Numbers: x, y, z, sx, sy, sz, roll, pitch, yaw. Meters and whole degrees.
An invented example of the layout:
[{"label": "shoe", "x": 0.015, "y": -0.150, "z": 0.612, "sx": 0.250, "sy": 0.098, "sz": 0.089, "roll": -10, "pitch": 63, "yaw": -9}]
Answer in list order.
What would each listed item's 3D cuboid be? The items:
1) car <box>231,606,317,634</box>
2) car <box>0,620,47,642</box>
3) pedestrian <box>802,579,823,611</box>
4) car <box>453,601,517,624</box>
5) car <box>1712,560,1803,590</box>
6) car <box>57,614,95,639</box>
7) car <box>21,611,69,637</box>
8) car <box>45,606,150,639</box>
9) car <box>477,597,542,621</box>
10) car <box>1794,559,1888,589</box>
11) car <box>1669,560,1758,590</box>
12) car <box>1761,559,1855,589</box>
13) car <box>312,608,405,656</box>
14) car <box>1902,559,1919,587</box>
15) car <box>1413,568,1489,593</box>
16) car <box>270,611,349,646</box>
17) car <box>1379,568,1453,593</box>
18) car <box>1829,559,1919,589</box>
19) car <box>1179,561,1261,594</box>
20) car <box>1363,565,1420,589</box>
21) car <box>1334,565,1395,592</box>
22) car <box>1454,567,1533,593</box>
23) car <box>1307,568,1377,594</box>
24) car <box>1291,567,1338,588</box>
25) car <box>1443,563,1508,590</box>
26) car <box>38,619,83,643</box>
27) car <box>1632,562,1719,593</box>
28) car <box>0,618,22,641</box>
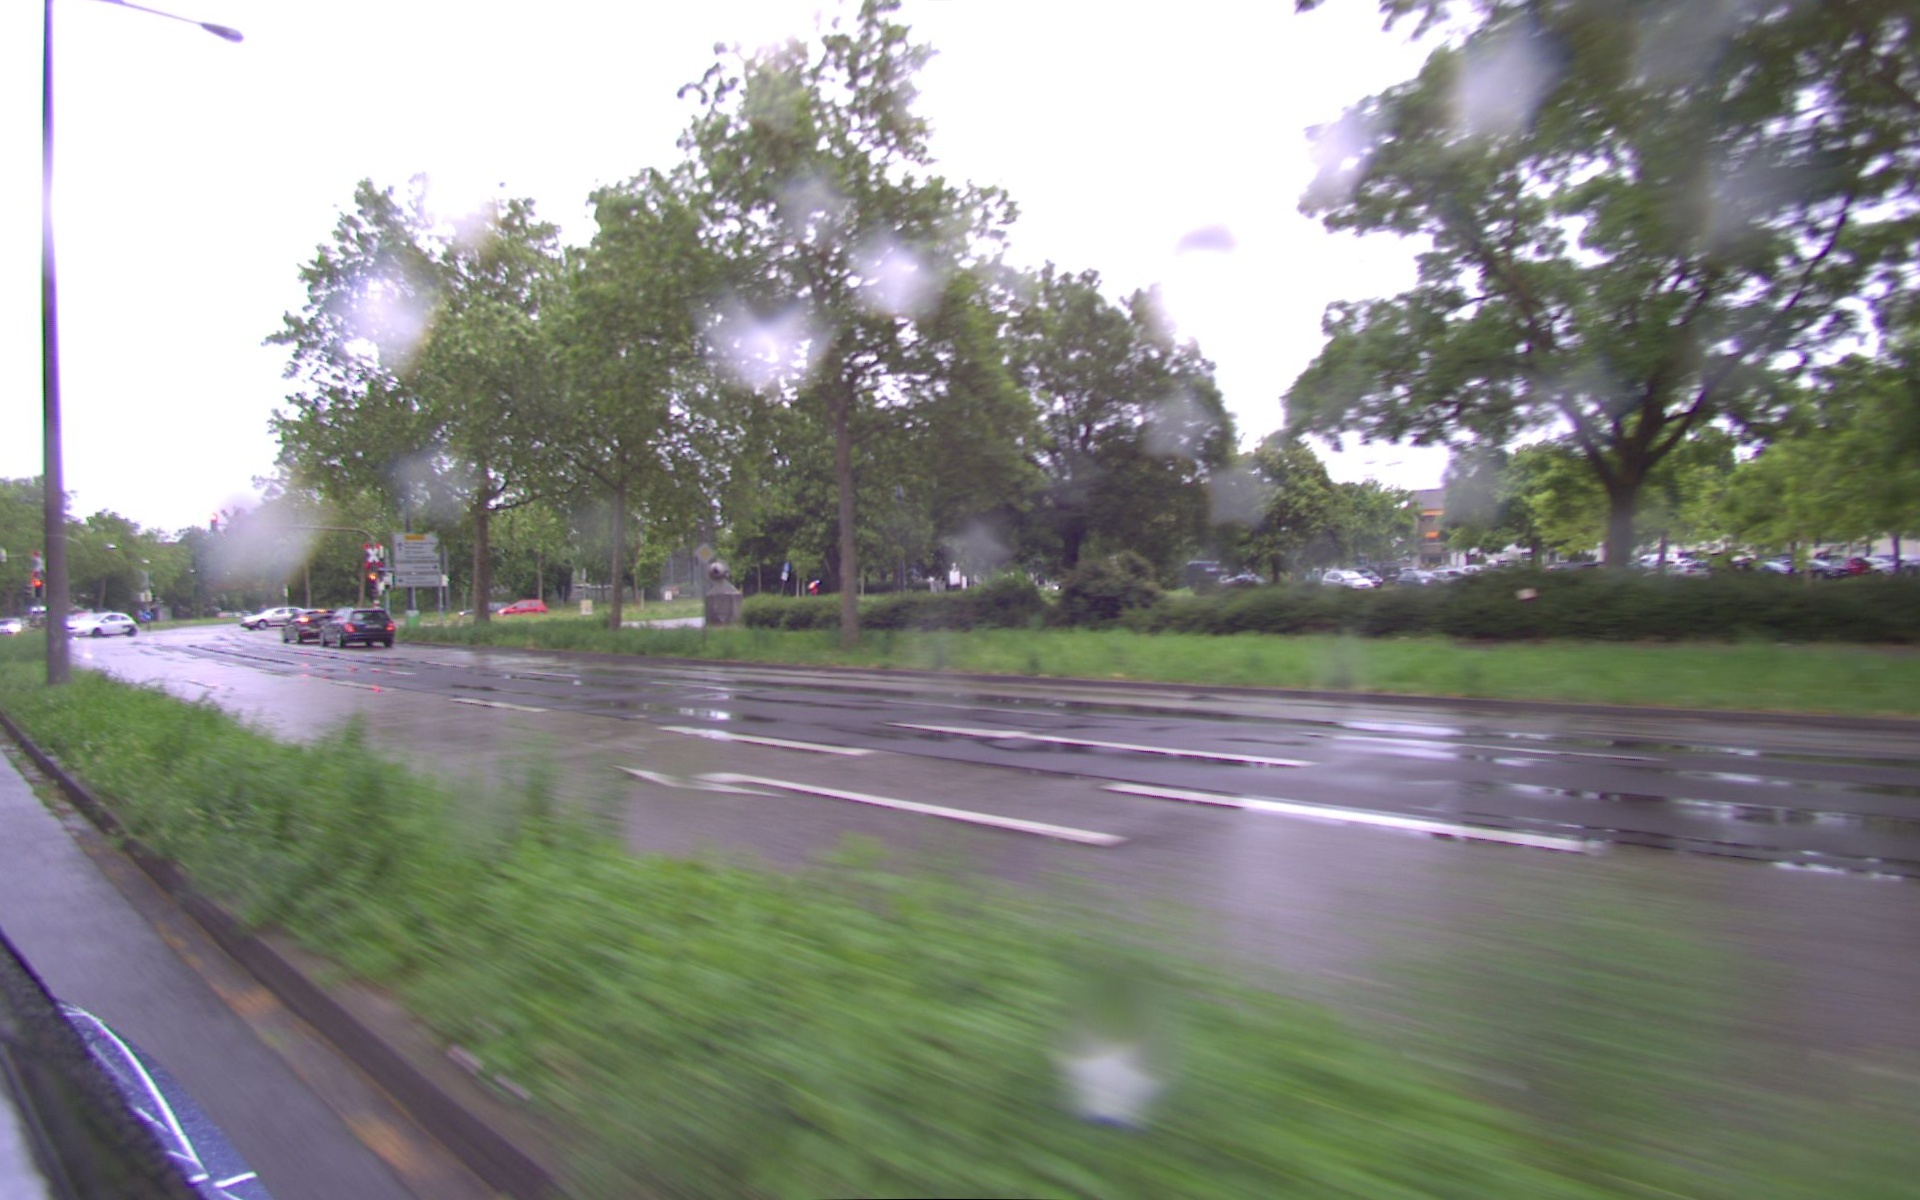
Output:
[{"label": "car", "x": -46.624, "y": 1.331, "z": 68.862, "sx": 1.994, "sy": 1.641, "sz": 4.454, "roll": -1, "pitch": 1, "yaw": 32}, {"label": "car", "x": -77.708, "y": 2.543, "z": 84.045, "sx": 1.966, "sy": 1.641, "sz": 4.535, "roll": -2, "pitch": 1, "yaw": -32}, {"label": "pedestrian", "x": -9.615, "y": -0.300, "z": 65.897, "sx": 0.885, "sy": 2.029, "sz": 1.021, "roll": -2, "pitch": 1, "yaw": -40}, {"label": "car", "x": -37.257, "y": 0.953, "z": 79.443, "sx": 4.444, "sy": 1.641, "sz": 2.006, "roll": -2, "pitch": 1, "yaw": -27}, {"label": "car", "x": 53.898, "y": -1.681, "z": 68.511, "sx": 1.966, "sy": 1.916, "sz": 4.511, "roll": -2, "pitch": 1, "yaw": -14}, {"label": "car", "x": -74.358, "y": 2.187, "z": 85.199, "sx": 1.967, "sy": 1.901, "sz": 4.532, "roll": -2, "pitch": 1, "yaw": -36}, {"label": "car", "x": -81.163, "y": 2.129, "z": 89.845, "sx": 1.966, "sy": 2.123, "sz": 5.159, "roll": -2, "pitch": 1, "yaw": -29}, {"label": "car", "x": -48.851, "y": 1.255, "z": 57.464, "sx": 1.973, "sy": 1.641, "sz": 4.519, "roll": -2, "pitch": 1, "yaw": 2}, {"label": "car", "x": -34.643, "y": 0.701, "z": 77.874, "sx": 4.444, "sy": 1.641, "sz": 2.006, "roll": -2, "pitch": 1, "yaw": -27}, {"label": "car", "x": 60.205, "y": -1.734, "z": 69.246, "sx": 1.966, "sy": 1.916, "sz": 4.511, "roll": -2, "pitch": 1, "yaw": -14}, {"label": "car", "x": 50.540, "y": -1.651, "z": 67.969, "sx": 1.966, "sy": 1.916, "sz": 4.511, "roll": -2, "pitch": 1, "yaw": -14}, {"label": "car", "x": 57.323, "y": -1.702, "z": 68.501, "sx": 2.078, "sy": 1.916, "sz": 4.509, "roll": -2, "pitch": 1, "yaw": -11}, {"label": "car", "x": -22.607, "y": 1.156, "z": 37.956, "sx": 1.971, "sy": 1.643, "sz": 4.334, "roll": -3, "pitch": 1, "yaw": -45}, {"label": "car", "x": 67.576, "y": -1.879, "z": 69.007, "sx": 1.966, "sy": 1.916, "sz": 4.511, "roll": -2, "pitch": 1, "yaw": -14}, {"label": "car", "x": 31.816, "y": -1.257, "z": 65.752, "sx": 1.966, "sy": 1.548, "sz": 4.511, "roll": -2, "pitch": 1, "yaw": -14}, {"label": "car", "x": -28.120, "y": 1.194, "z": 43.699, "sx": 1.971, "sy": 1.384, "sz": 4.334, "roll": -3, "pitch": 1, "yaw": -45}, {"label": "car", "x": 29.528, "y": -1.235, "z": 65.686, "sx": 1.966, "sy": 1.548, "sz": 4.511, "roll": -2, "pitch": 1, "yaw": -14}, {"label": "car", "x": 62.703, "y": -1.751, "z": 69.333, "sx": 1.966, "sy": 1.916, "sz": 4.511, "roll": -2, "pitch": 1, "yaw": -14}, {"label": "car", "x": 18.694, "y": -1.638, "z": 72.736, "sx": 5.327, "sy": 2.190, "sz": 2.005, "roll": -2, "pitch": 1, "yaw": -12}, {"label": "car", "x": 35.795, "y": -1.885, "z": 83.999, "sx": 1.966, "sy": 1.916, "sz": 4.511, "roll": -2, "pitch": 1, "yaw": -14}, {"label": "car", "x": 30.593, "y": -1.577, "z": 76.708, "sx": 1.966, "sy": 1.916, "sz": 4.511, "roll": -2, "pitch": 1, "yaw": -14}, {"label": "car", "x": 34.561, "y": -1.275, "z": 65.716, "sx": 1.966, "sy": 1.548, "sz": 4.511, "roll": -2, "pitch": 1, "yaw": -14}, {"label": "car", "x": 24.528, "y": -1.186, "z": 65.182, "sx": 1.966, "sy": 1.548, "sz": 4.511, "roll": -2, "pitch": 1, "yaw": -14}, {"label": "car", "x": 33.279, "y": -2.093, "z": 95.117, "sx": 1.966, "sy": 1.916, "sz": 4.511, "roll": -2, "pitch": 1, "yaw": -14}, {"label": "car", "x": 39.971, "y": -1.797, "z": 78.642, "sx": 1.966, "sy": 1.916, "sz": 4.511, "roll": -2, "pitch": 1, "yaw": -14}, {"label": "car", "x": -70.394, "y": 2.392, "z": 79.260, "sx": 1.967, "sy": 1.641, "sz": 4.534, "roll": -2, "pitch": 1, "yaw": -34}, {"label": "car", "x": 47.951, "y": -1.481, "z": 67.919, "sx": 1.966, "sy": 1.916, "sz": 4.511, "roll": -2, "pitch": 1, "yaw": -14}, {"label": "car", "x": -73.124, "y": 2.247, "z": 77.252, "sx": 1.969, "sy": 1.641, "sz": 4.529, "roll": -2, "pitch": 1, "yaw": -40}]
